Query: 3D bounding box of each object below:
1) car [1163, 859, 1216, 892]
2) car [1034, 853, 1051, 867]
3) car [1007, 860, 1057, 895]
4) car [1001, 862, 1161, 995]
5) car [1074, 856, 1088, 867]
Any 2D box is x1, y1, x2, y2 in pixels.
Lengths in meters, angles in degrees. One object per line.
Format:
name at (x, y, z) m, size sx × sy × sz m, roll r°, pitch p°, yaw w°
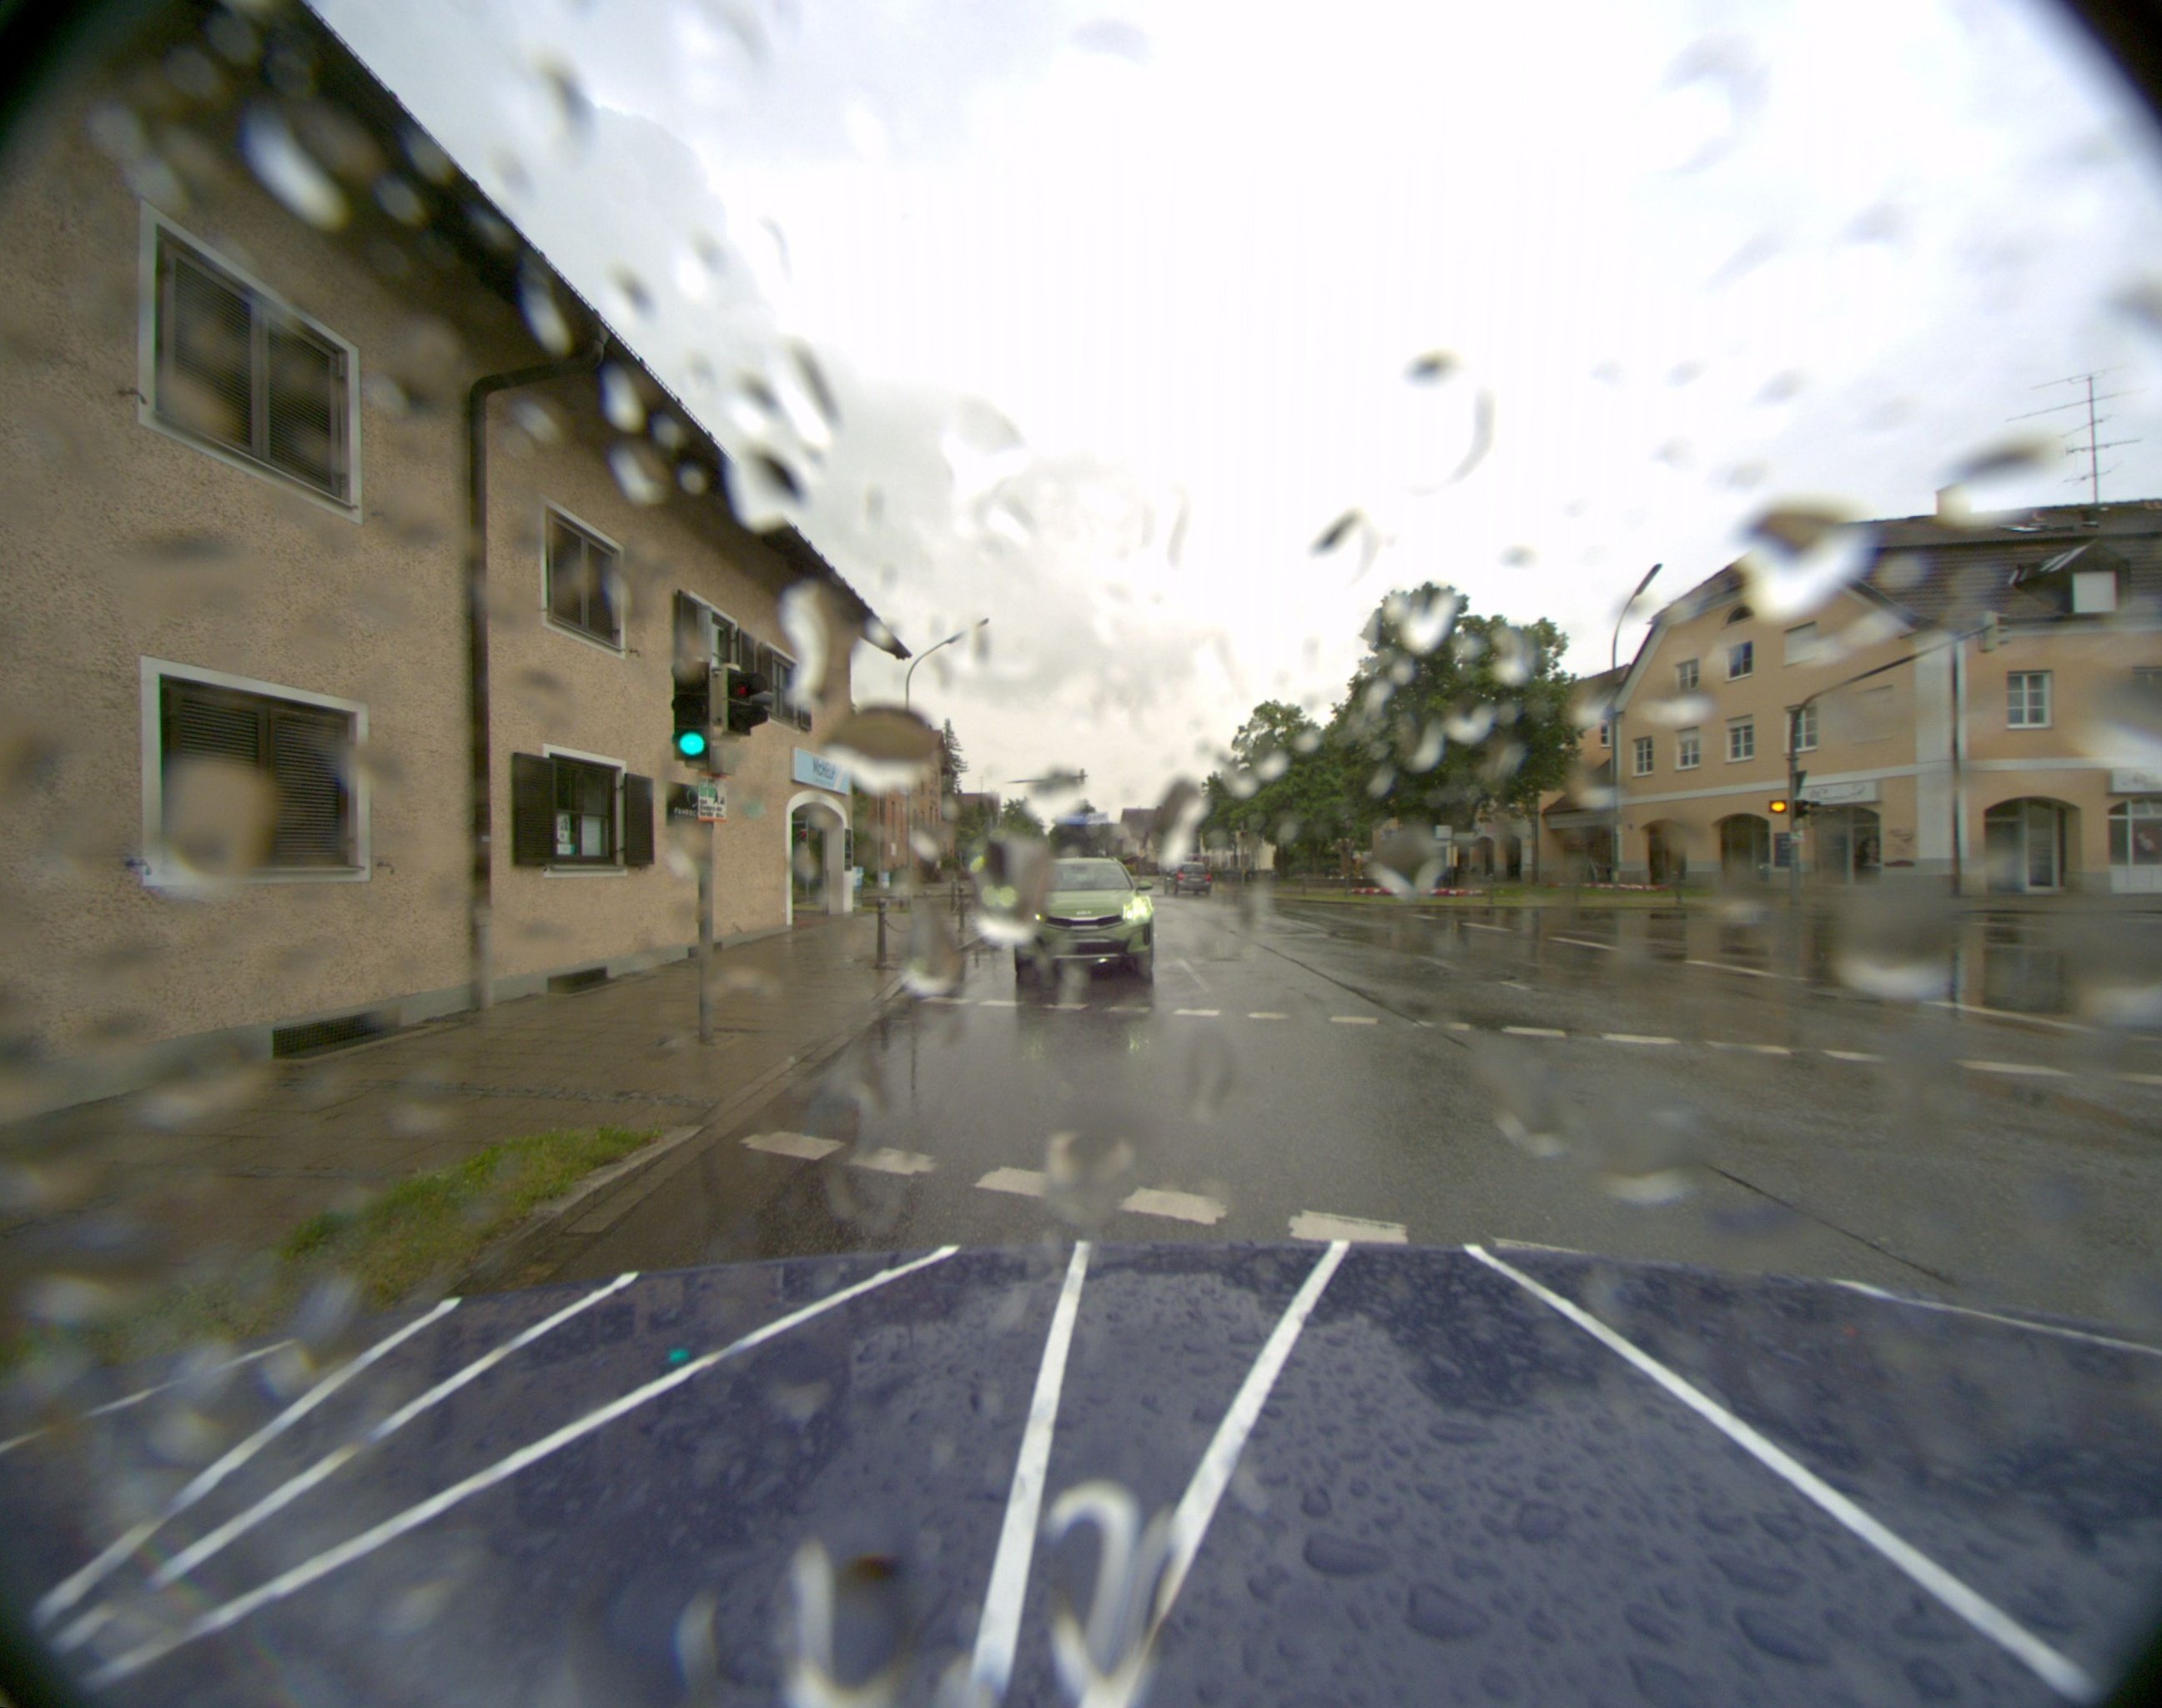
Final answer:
car at (5.306, 1.045, 37.620) m, size 1.921 × 1.524 × 3.898 m, roll 0°, pitch 0°, yaw -3°
car at (-5.335, 0.815, 104.909) m, size 2.218 × 1.977 × 4.952 m, roll 0°, pitch 0°, yaw -5°
car at (-2.210, 1.021, 35.226) m, size 1.735 × 1.489 × 4.611 m, roll 0°, pitch 0°, yaw 4°
car at (0.020, 0.905, 11.023) m, size 1.872 × 1.504 × 4.105 m, roll -1°, pitch 0°, yaw 1°
car at (0.005, 1.088, 108.316) m, size 1.873 × 1.447 × 4.104 m, roll 0°, pitch 0°, yaw -2°
